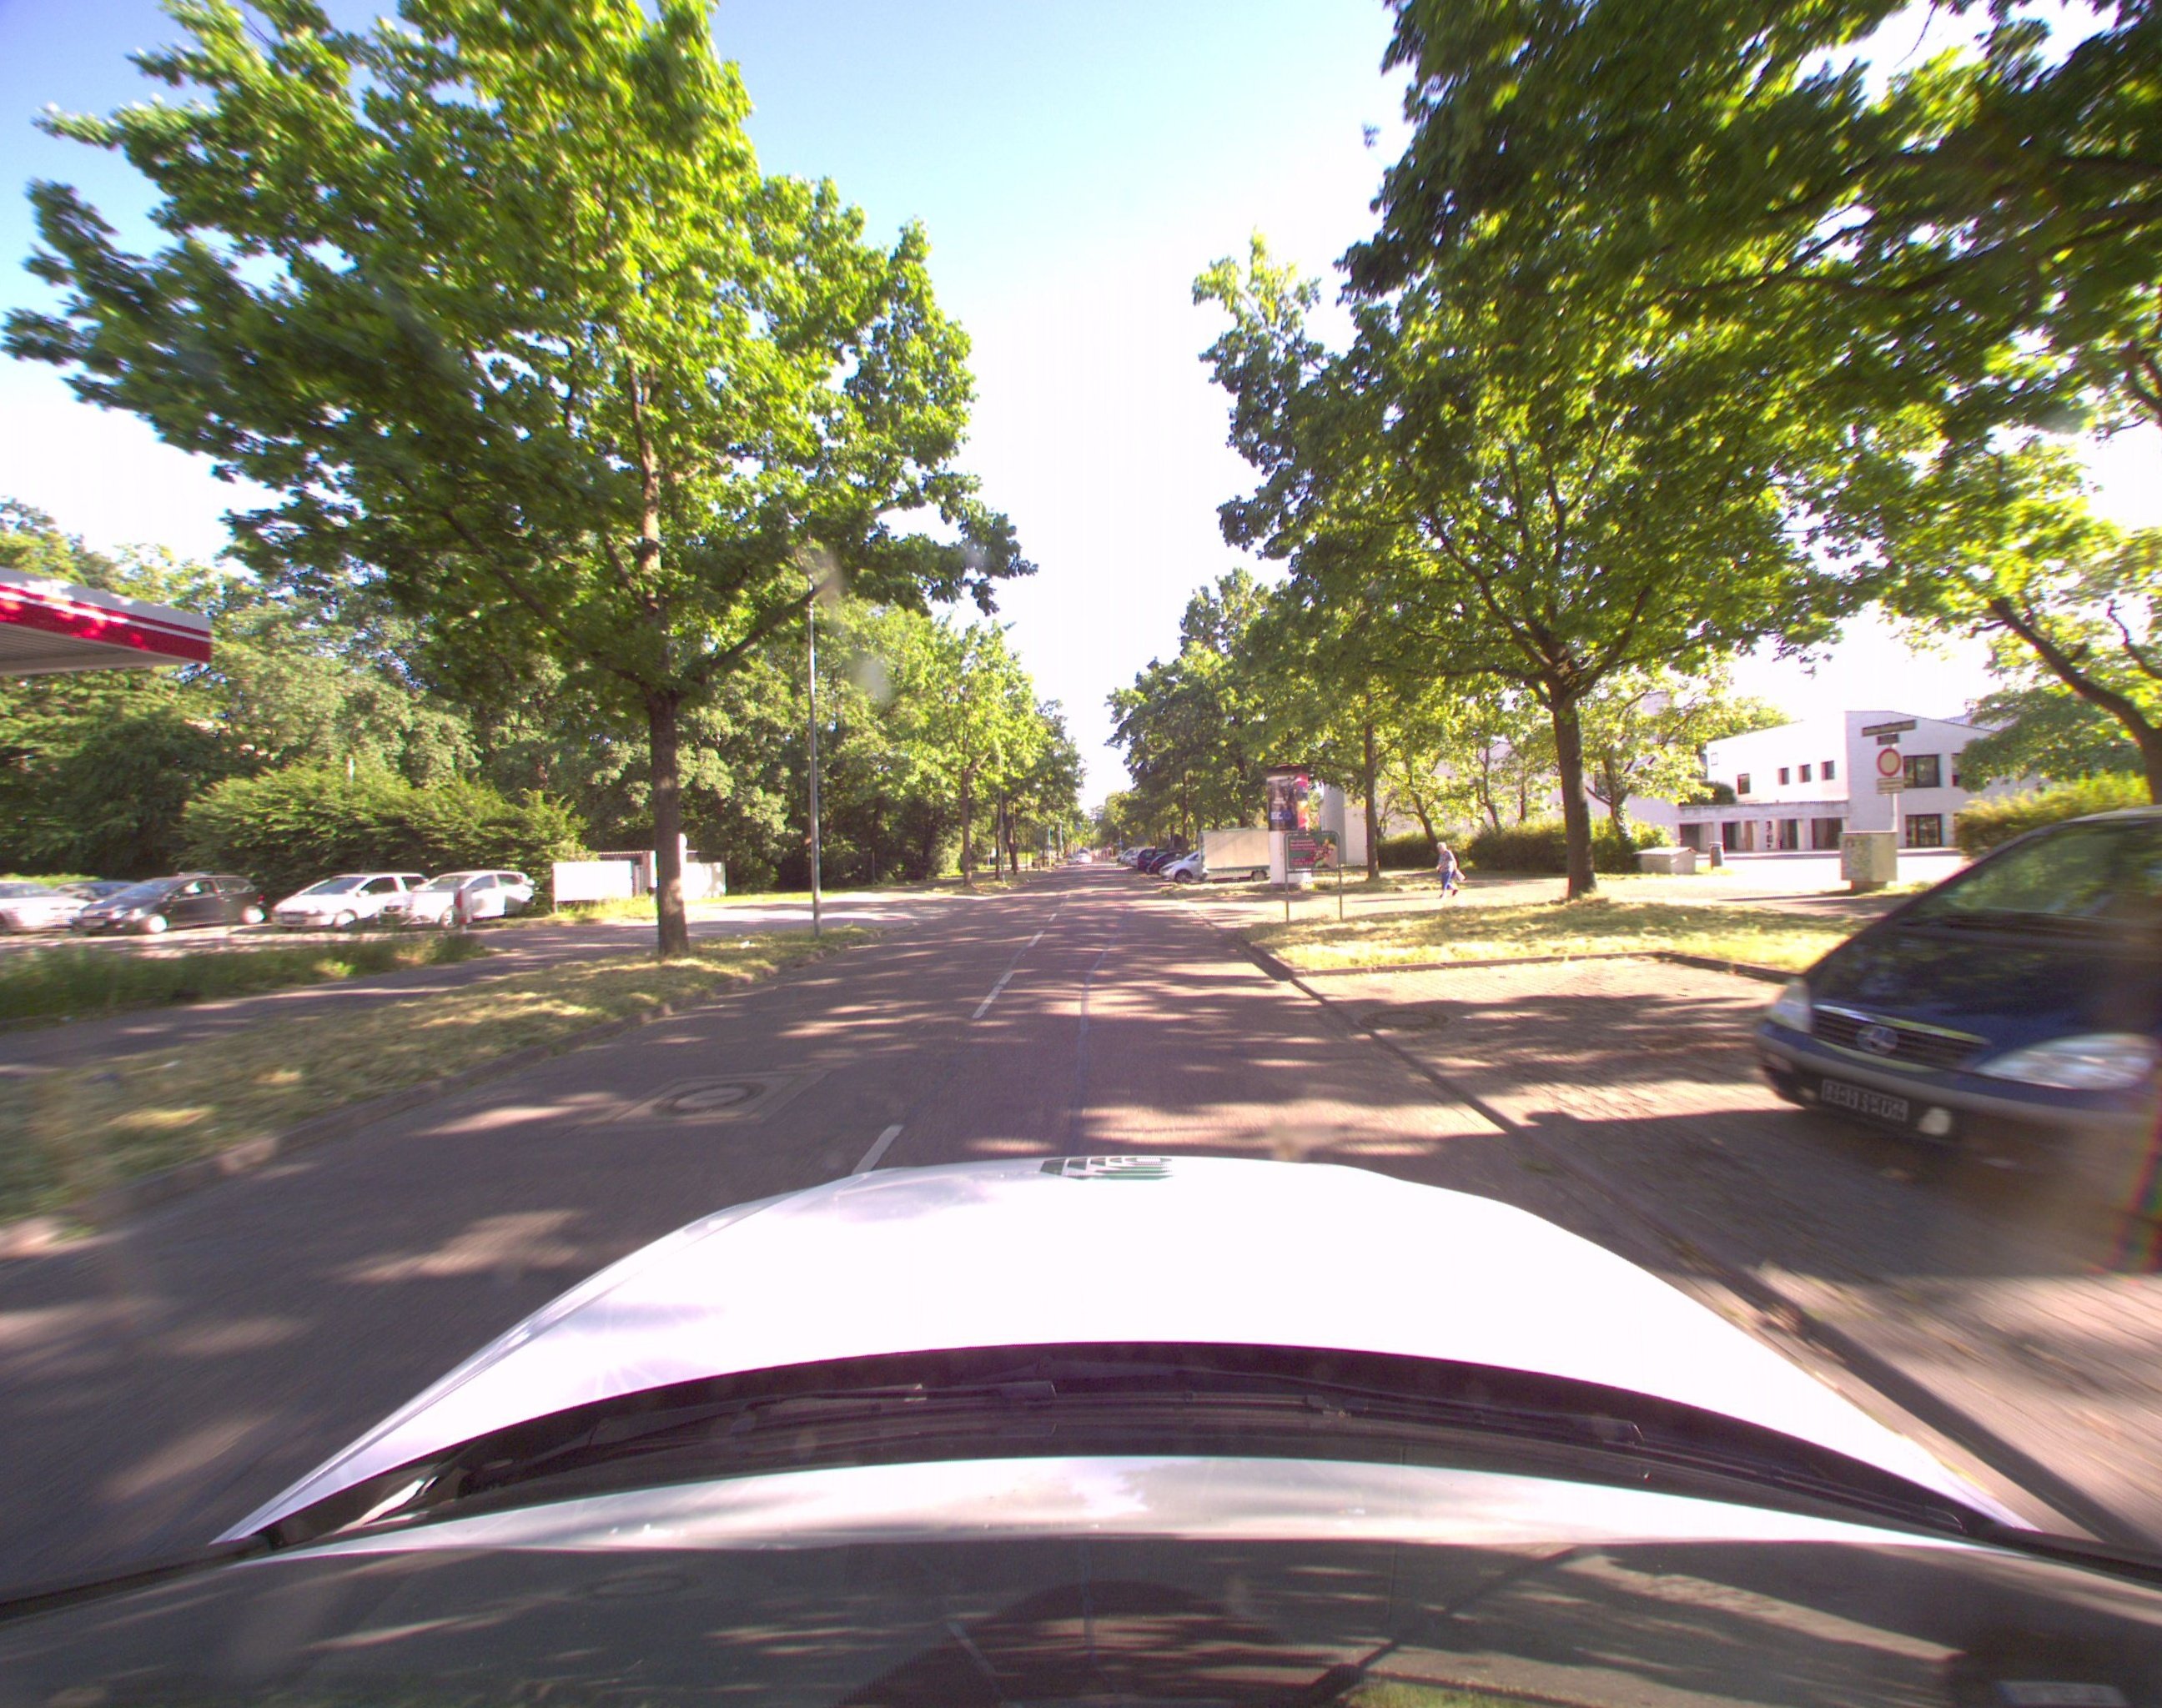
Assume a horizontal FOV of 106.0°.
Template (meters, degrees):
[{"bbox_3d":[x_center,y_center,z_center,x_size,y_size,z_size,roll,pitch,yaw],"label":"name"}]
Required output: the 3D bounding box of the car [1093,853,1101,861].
[{"bbox_3d":[3.785,0.728,195.670,1.987,1.716,4.000,-1,0,0],"label":"car"}]

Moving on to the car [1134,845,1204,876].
[{"bbox_3d":[5.962,0.431,55.712,4.514,1.801,1.936,-3,0,1],"label":"car"}]

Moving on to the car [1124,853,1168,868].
[{"bbox_3d":[6.752,0.690,85.195,4.430,1.390,1.911,-3,0,0],"label":"car"}]

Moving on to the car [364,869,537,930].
[{"bbox_3d":[-16.505,1.134,21.541,1.537,1.422,3.496,0,0,9],"label":"car"}]

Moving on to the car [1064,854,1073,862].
[{"bbox_3d":[-2.859,0.816,186.076,1.987,1.716,4.000,-1,0,0],"label":"car"}]

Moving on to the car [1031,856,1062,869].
[{"bbox_3d":[-5.016,1.256,117.602,3.950,1.655,2.012,-2,-1,25],"label":"car"}]

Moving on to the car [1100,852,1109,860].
[{"bbox_3d":[5.178,0.359,179.908,1.987,1.716,4.000,-1,0,0],"label":"car"}]

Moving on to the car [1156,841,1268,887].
[{"bbox_3d":[5.765,0.430,36.180,4.625,1.722,1.988,-4,0,1],"label":"car"}]

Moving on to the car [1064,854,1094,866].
[{"bbox_3d":[-0.346,0.878,111.365,2.010,1.484,3.953,-1,-1,-40],"label":"car"}]

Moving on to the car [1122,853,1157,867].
[{"bbox_3d":[6.815,0.712,95.337,3.971,1.433,1.902,-2,0,2],"label":"car"}]

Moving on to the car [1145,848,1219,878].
[{"bbox_3d":[6.019,0.524,49.042,4.229,1.519,2.079,-3,0,2],"label":"car"}]

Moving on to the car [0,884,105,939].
[{"bbox_3d":[-27.993,1.490,21.449,3.176,1.317,1.462,0,0,8],"label":"car"}]

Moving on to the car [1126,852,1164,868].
[{"bbox_3d":[6.912,0.621,88.115,3.872,1.497,1.777,-4,0,0],"label":"car"}]

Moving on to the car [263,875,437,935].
[{"bbox_3d":[-19.118,1.278,21.478,1.414,1.367,3.213,0,0,9],"label":"car"}]

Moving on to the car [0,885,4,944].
[{"bbox_3d":[-27.407,1.458,18.877,3.176,1.400,1.589,0,0,8],"label":"car"}]

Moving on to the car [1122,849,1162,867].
[{"bbox_3d":[6.959,0.454,92.802,4.372,1.651,1.850,-4,0,-1],"label":"car"}]

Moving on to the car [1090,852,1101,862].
[{"bbox_3d":[2.804,0.640,159.247,1.987,1.933,4.000,-1,0,0],"label":"car"}]

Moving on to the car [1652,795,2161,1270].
[{"bbox_3d":[5.071,0.515,3.712,3.572,1.576,1.857,-4,0,0],"label":"car"}]

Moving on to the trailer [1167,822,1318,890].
[{"bbox_3d":[6.512,0.069,33.351,5.751,2.317,1.687,-4,0,2],"label":"trailer"}]

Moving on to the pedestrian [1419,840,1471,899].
[{"bbox_3d":[9.781,0.404,21.883,0.948,1.500,0.875,-3,0,-38],"label":"pedestrian"}]

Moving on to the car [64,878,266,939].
[{"bbox_3d":[-23.690,1.348,21.220,1.414,1.367,3.213,0,0,9],"label":"car"}]

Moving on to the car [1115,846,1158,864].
[{"bbox_3d":[6.977,0.138,103.117,5.172,2.105,2.082,-2,0,-1],"label":"car"}]

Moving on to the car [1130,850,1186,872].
[{"bbox_3d":[6.586,0.598,69.897,4.654,1.580,1.917,-4,0,1],"label":"car"}]
